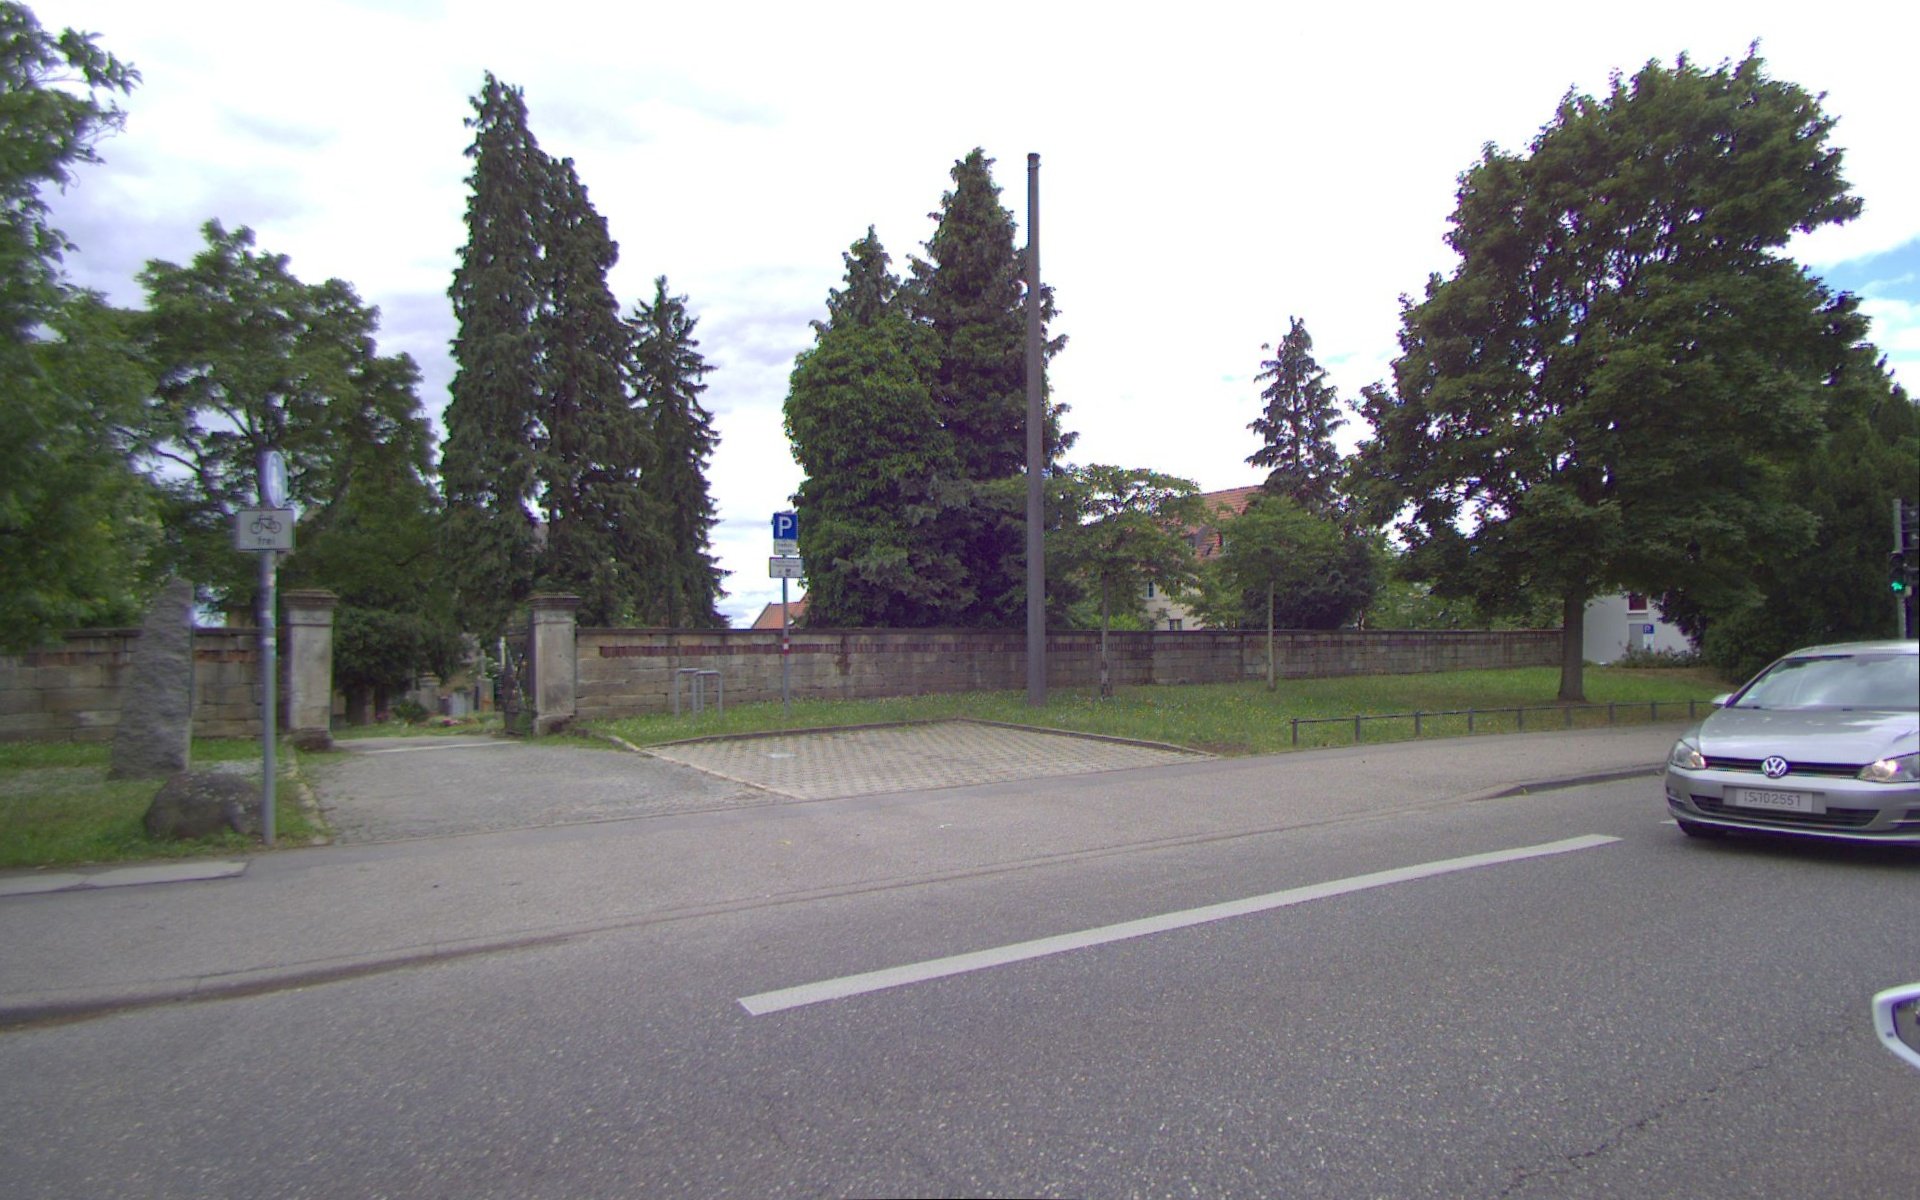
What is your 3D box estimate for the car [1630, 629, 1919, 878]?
[{"bbox_3d":[7.172,0.975,7.676,4.103,1.481,1.718,1,-3,-29],"label":"car"}]
